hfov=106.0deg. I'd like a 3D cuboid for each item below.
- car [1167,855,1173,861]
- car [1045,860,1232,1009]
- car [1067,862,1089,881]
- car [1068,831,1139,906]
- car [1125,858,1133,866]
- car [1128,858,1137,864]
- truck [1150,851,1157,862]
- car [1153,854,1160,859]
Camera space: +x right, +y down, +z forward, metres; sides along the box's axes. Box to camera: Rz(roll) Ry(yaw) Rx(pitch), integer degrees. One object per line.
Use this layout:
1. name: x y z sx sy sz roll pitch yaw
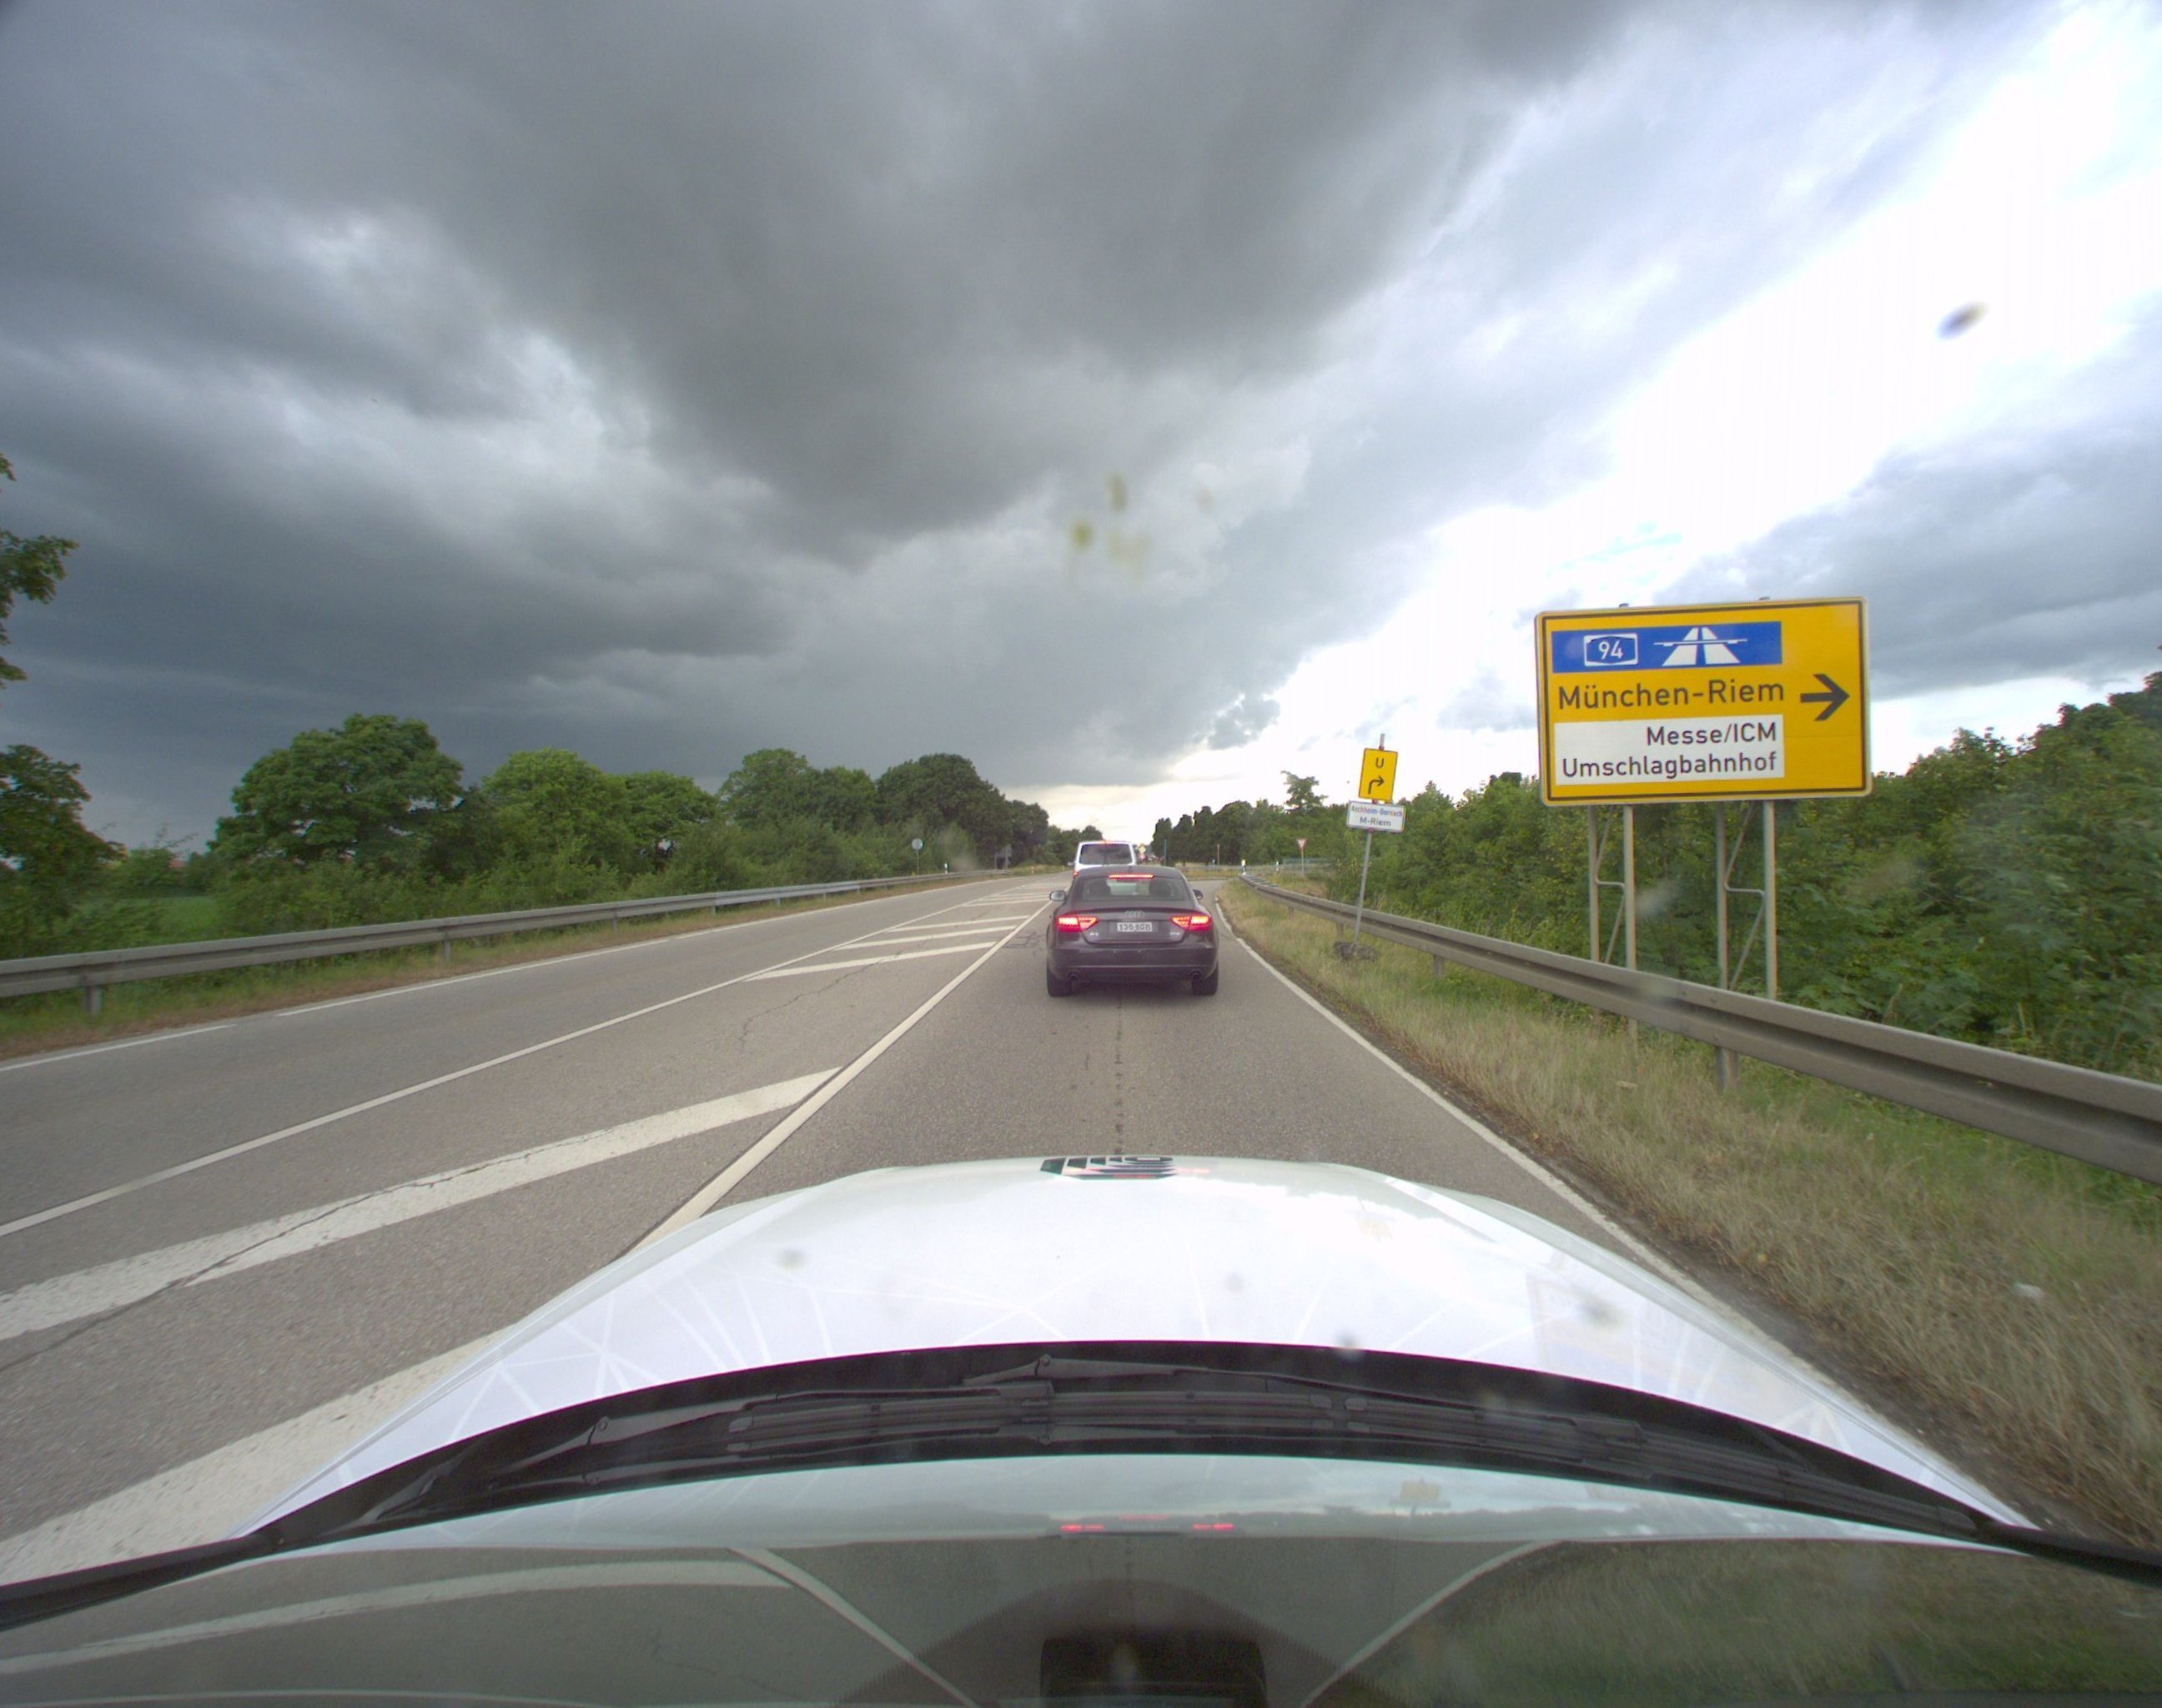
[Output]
1. car: 26.613 1.145 243.189 1.865 1.692 4.008 0 0 7
2. car: 0.576 0.781 9.472 1.773 1.398 3.337 -1 0 1
3. car: -0.242 1.432 67.364 1.703 1.518 4.211 0 0 1
4. car: 0.655 0.390 23.941 1.903 2.013 4.001 0 0 1
5. car: 11.661 1.955 196.871 1.985 2.013 4.004 0 0 4
6. car: 13.440 1.797 212.909 2.198 1.582 4.380 0 0 1
7. truck: 20.697 0.743 232.555 1.984 2.918 5.800 0 0 4
8. car: 23.190 0.756 250.758 1.985 1.692 4.004 0 0 4
